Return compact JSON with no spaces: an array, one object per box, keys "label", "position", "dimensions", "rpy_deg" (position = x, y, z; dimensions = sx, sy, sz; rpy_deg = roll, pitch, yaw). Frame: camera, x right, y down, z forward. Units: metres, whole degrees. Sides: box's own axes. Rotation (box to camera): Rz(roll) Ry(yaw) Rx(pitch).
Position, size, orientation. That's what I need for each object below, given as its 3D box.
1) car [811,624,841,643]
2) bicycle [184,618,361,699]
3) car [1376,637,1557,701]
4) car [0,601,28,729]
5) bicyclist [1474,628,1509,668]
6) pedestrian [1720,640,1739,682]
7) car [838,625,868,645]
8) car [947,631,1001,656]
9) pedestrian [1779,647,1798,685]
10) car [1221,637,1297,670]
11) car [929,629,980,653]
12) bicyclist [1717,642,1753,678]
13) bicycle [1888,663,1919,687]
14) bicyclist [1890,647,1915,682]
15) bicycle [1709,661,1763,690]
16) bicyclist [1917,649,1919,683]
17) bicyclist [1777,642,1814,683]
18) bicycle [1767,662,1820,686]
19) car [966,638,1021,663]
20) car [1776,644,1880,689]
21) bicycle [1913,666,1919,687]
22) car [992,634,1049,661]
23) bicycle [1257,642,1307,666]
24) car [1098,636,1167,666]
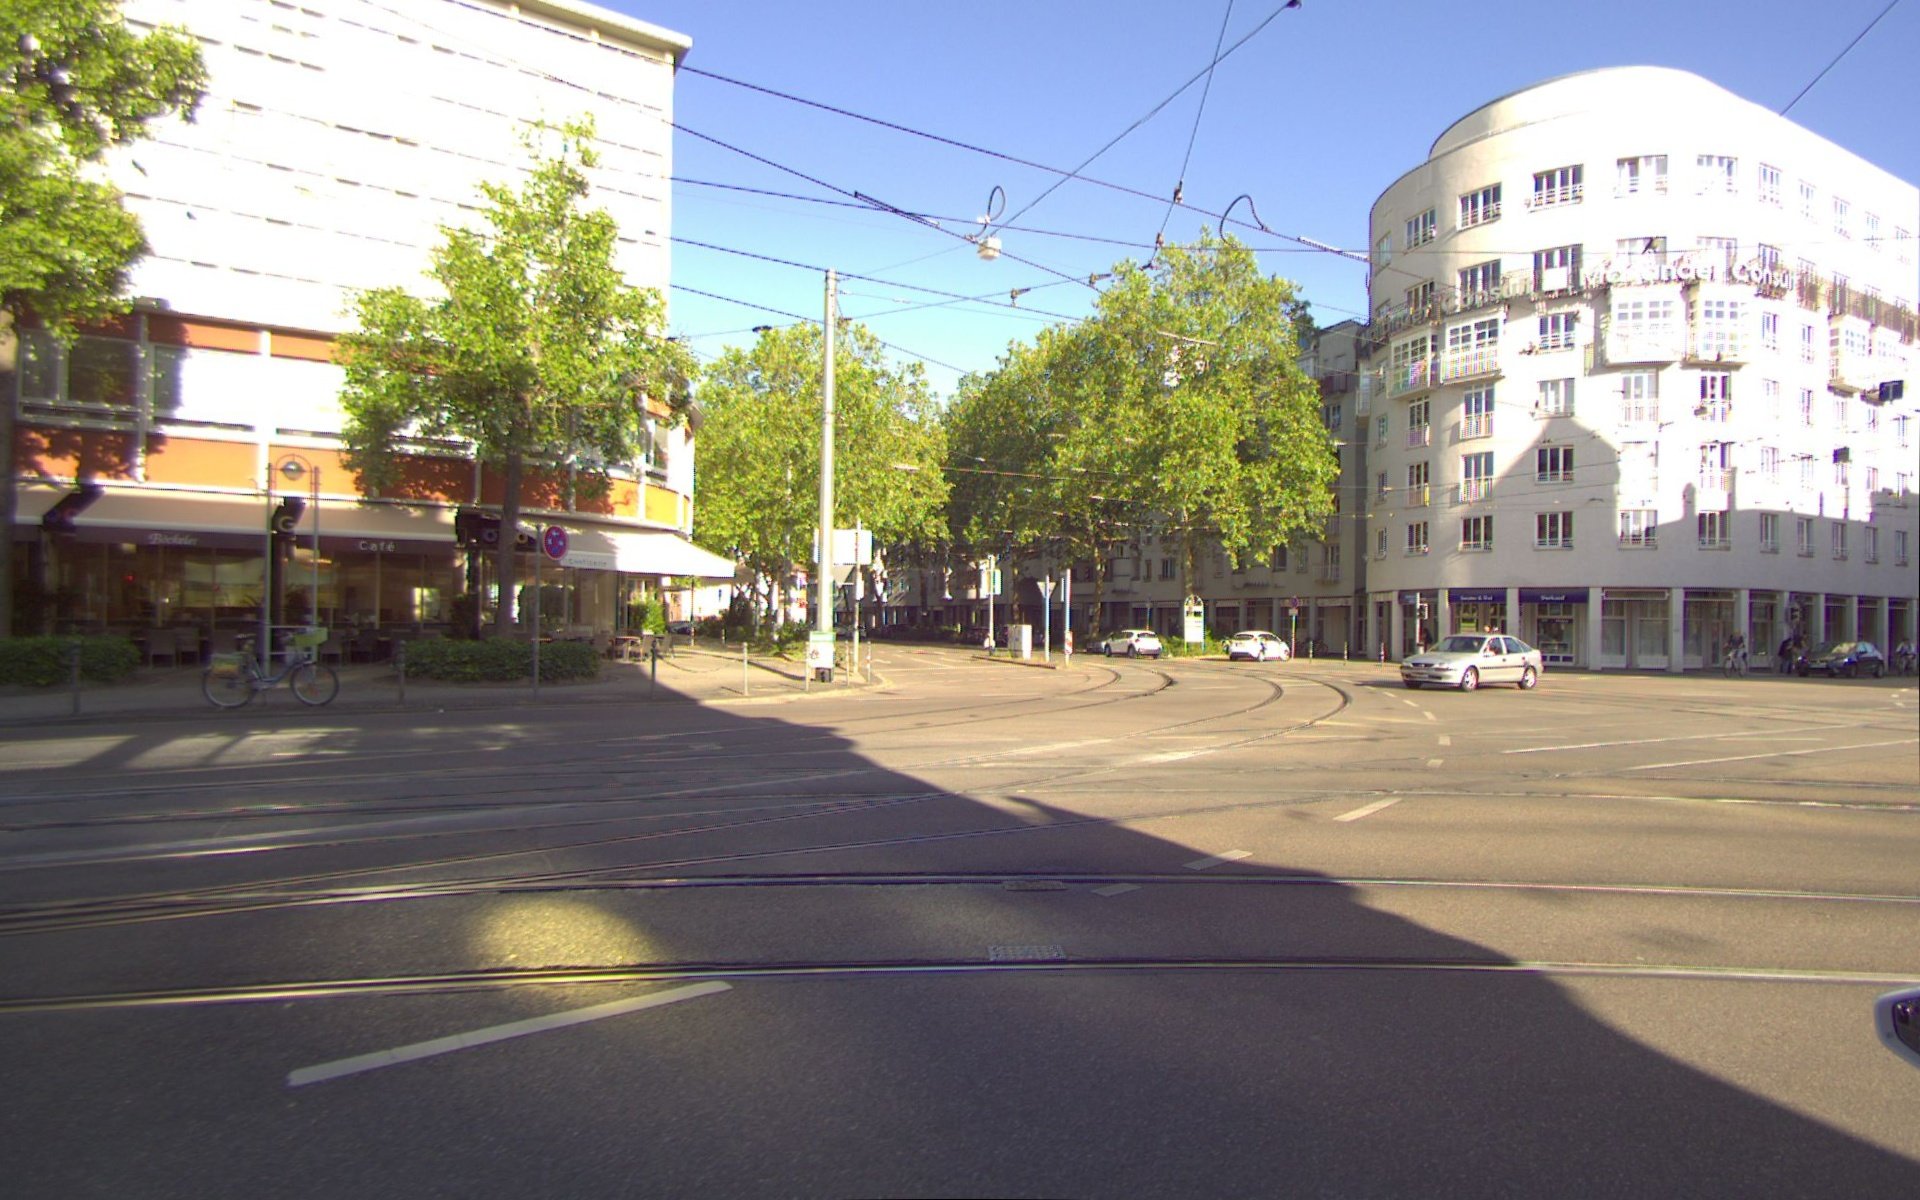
[{"label":"car","position":[-15.257,3.764,114.182],"dimensions":[1.976,2.040,3.971],"rpy_deg":[3,-2,-28]},{"label":"bicycle","position":[-10.647,0.904,15.655],"dimensions":[2.209,1.202,0.495],"rpy_deg":[2,-1,-30]},{"label":"car","position":[13.027,1.733,25.772],"dimensions":[4.595,1.470,1.984],"rpy_deg":[2,-2,-30]},{"label":"car","position":[-12.880,0.680,10.309],"dimensions":[4.449,1.470,1.984],"rpy_deg":[2,-2,-30]},{"label":"bicyclist","position":[17.665,1.594,33.378],"dimensions":[0.915,1.302,0.586],"rpy_deg":[3,-2,-28]},{"label":"pedestrian","position":[34.713,2.758,45.325],"dimensions":[0.738,1.857,0.457],"rpy_deg":[0,0,-33]},{"label":"car","position":[-11.570,3.717,108.578],"dimensions":[1.974,2.040,3.974],"rpy_deg":[3,-2,-26]},{"label":"car","position":[1.150,3.537,81.350],"dimensions":[3.954,1.906,1.808],"rpy_deg":[2,-2,-31]},{"label":"pedestrian","position":[34.711,2.755,42.092],"dimensions":[0.434,1.554,0.683],"rpy_deg":[0,0,25]},{"label":"car","position":[14.931,2.643,50.009],"dimensions":[4.071,1.422,1.781],"rpy_deg":[0,0,-42]},{"label":"car","position":[-0.432,3.485,85.355],"dimensions":[3.954,1.906,1.808],"rpy_deg":[2,-2,-31]},{"label":"bicyclist","position":[29.104,2.258,37.706],"dimensions":[0.975,1.302,0.589],"rpy_deg":[3,-2,-14]},{"label":"bicycle","position":[42.436,3.376,45.117],"dimensions":[1.989,0.985,0.591],"rpy_deg":[3,-2,-31]},{"label":"bicyclist","position":[42.270,2.900,45.051],"dimensions":[0.917,1.507,0.585],"rpy_deg":[3,-2,-30]},{"label":"bicycle","position":[29.167,2.835,37.738],"dimensions":[1.823,0.985,0.594],"rpy_deg":[3,-2,-14]},{"label":"bicyclist","position":[45.376,3.099,47.021],"dimensions":[0.885,1.606,0.585],"rpy_deg":[3,-2,-30]},{"label":"bicyclist","position":[36.317,2.698,43.656],"dimensions":[1.009,1.718,0.724],"rpy_deg":[2,-1,0]},{"label":"bicycle","position":[36.191,3.213,43.628],"dimensions":[1.727,0.993,0.678],"rpy_deg":[2,-1,0]},{"label":"car","position":[2.662,3.973,79.484],"dimensions":[3.954,1.906,1.808],"rpy_deg":[2,-2,-31]},{"label":"car","position":[34.514,2.659,39.920],"dimensions":[3.954,1.617,1.984],"rpy_deg":[3,-2,-31]},{"label":"bicycle","position":[45.470,3.602,47.090],"dimensions":[2.024,0.985,0.591],"rpy_deg":[3,-2,-31]},{"label":"car","position":[4.536,3.586,75.506],"dimensions":[3.954,1.906,1.808],"rpy_deg":[2,-2,-31]},{"label":"bicycle","position":[18.095,3.023,56.563],"dimensions":[0.593,1.250,2.864],"rpy_deg":[0,0,-37]},{"label":"car","position":[9.221,2.711,54.115],"dimensions":[1.778,1.422,3.984],"rpy_deg":[0,0,-24]}]
